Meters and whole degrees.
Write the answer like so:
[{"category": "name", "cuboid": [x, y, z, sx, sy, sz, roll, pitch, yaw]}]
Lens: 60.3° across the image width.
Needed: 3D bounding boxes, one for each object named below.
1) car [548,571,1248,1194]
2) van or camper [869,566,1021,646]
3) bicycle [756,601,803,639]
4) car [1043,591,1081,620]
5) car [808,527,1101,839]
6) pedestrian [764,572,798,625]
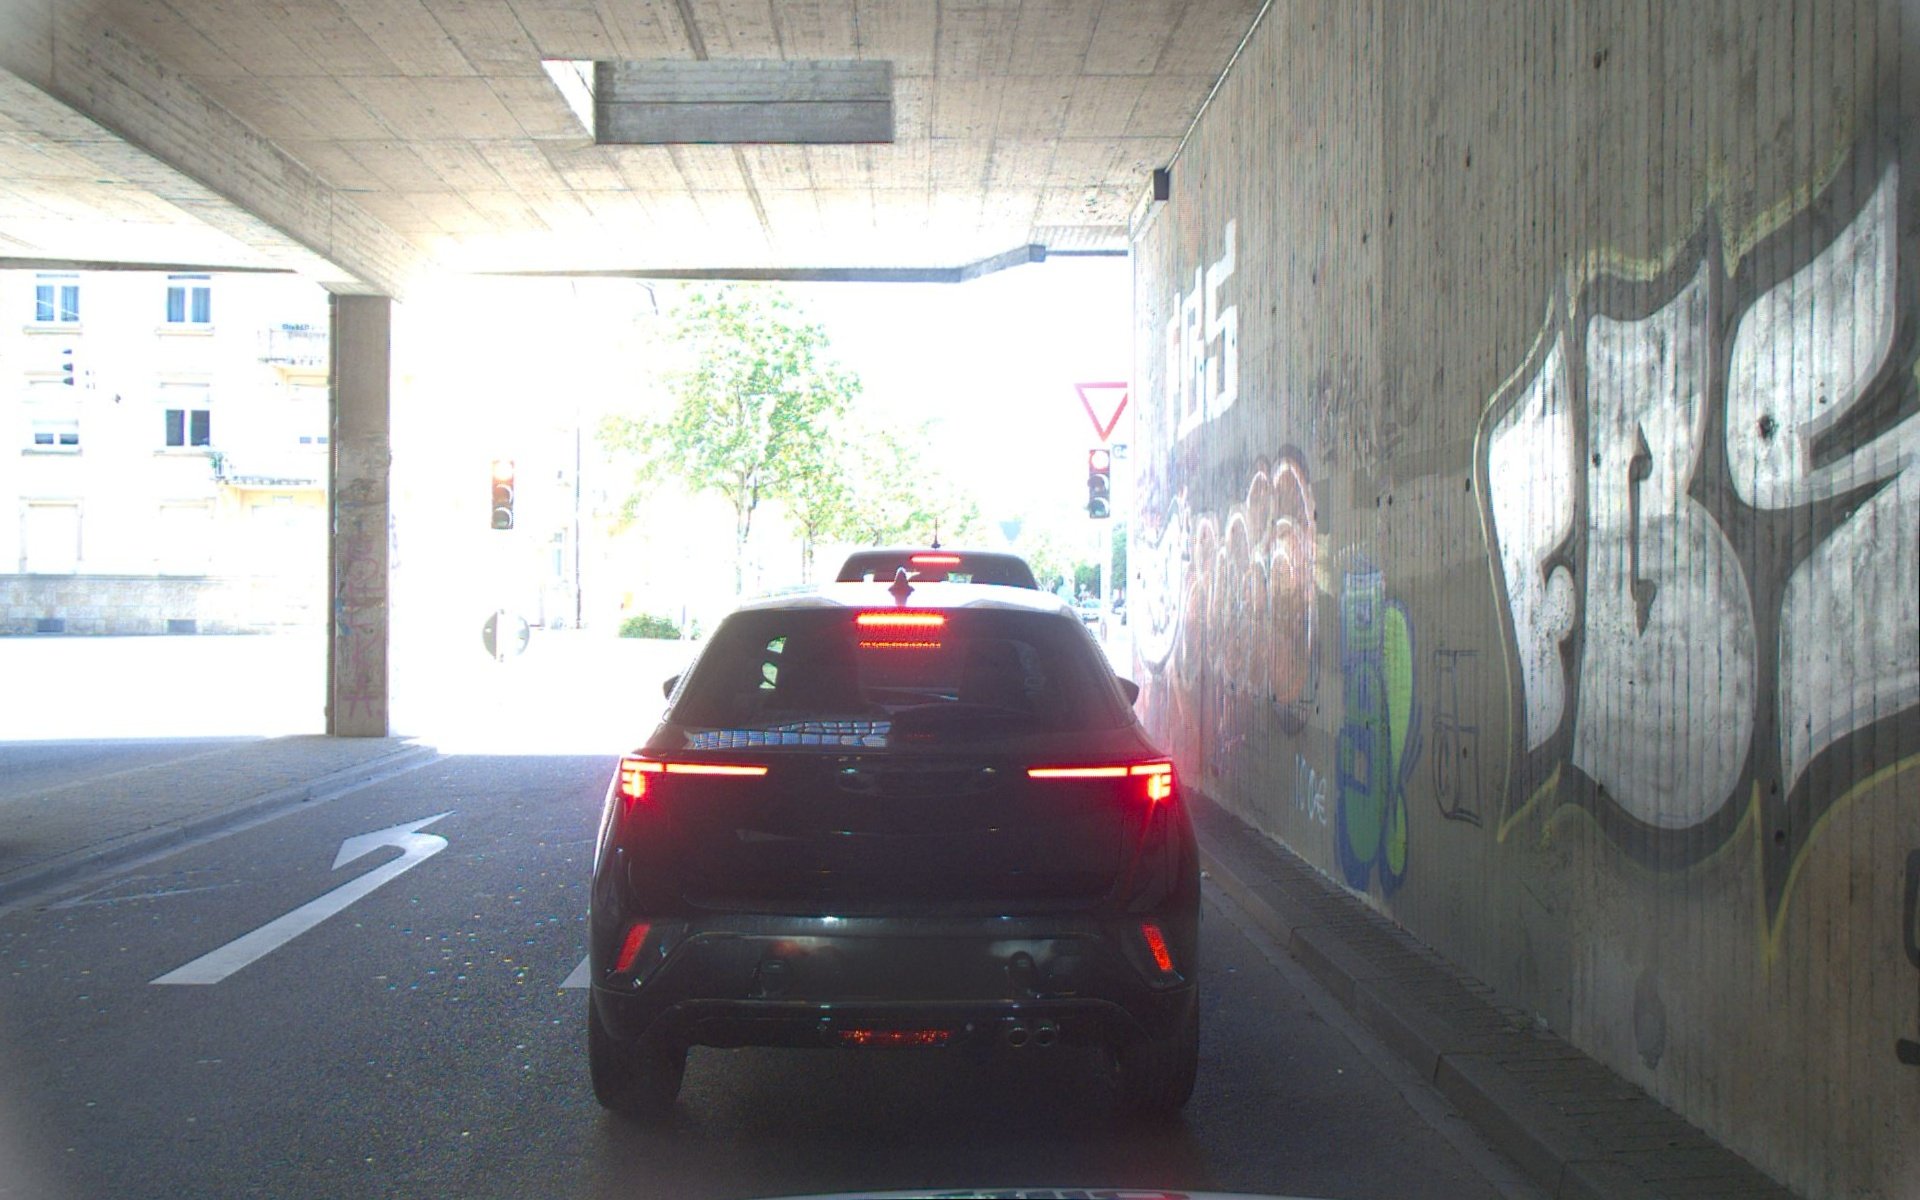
[{"category": "car", "cuboid": [-0.168, 0.699, 6.133, 1.718, 1.525, 4.000, 1, 0, -1]}, {"category": "van or camper", "cuboid": [-0.360, 0.145, 43.664, 3.795, 2.049, 2.001, 0, 0, 7]}, {"category": "bicycle", "cuboid": [-5.584, 0.603, 51.245, 0.721, 1.150, 2.027, 0, 0, 16]}, {"category": "car", "cuboid": [5.189, 0.262, 83.879, 1.564, 1.477, 3.798, 0, 0, 8]}, {"category": "car", "cuboid": [-0.054, 0.495, 12.008, 1.749, 1.865, 3.960, 1, 0, -1]}, {"category": "pedestrian", "cuboid": [-5.556, -0.043, 51.332, 0.720, 1.612, 0.891, 1, -1, 15]}]
